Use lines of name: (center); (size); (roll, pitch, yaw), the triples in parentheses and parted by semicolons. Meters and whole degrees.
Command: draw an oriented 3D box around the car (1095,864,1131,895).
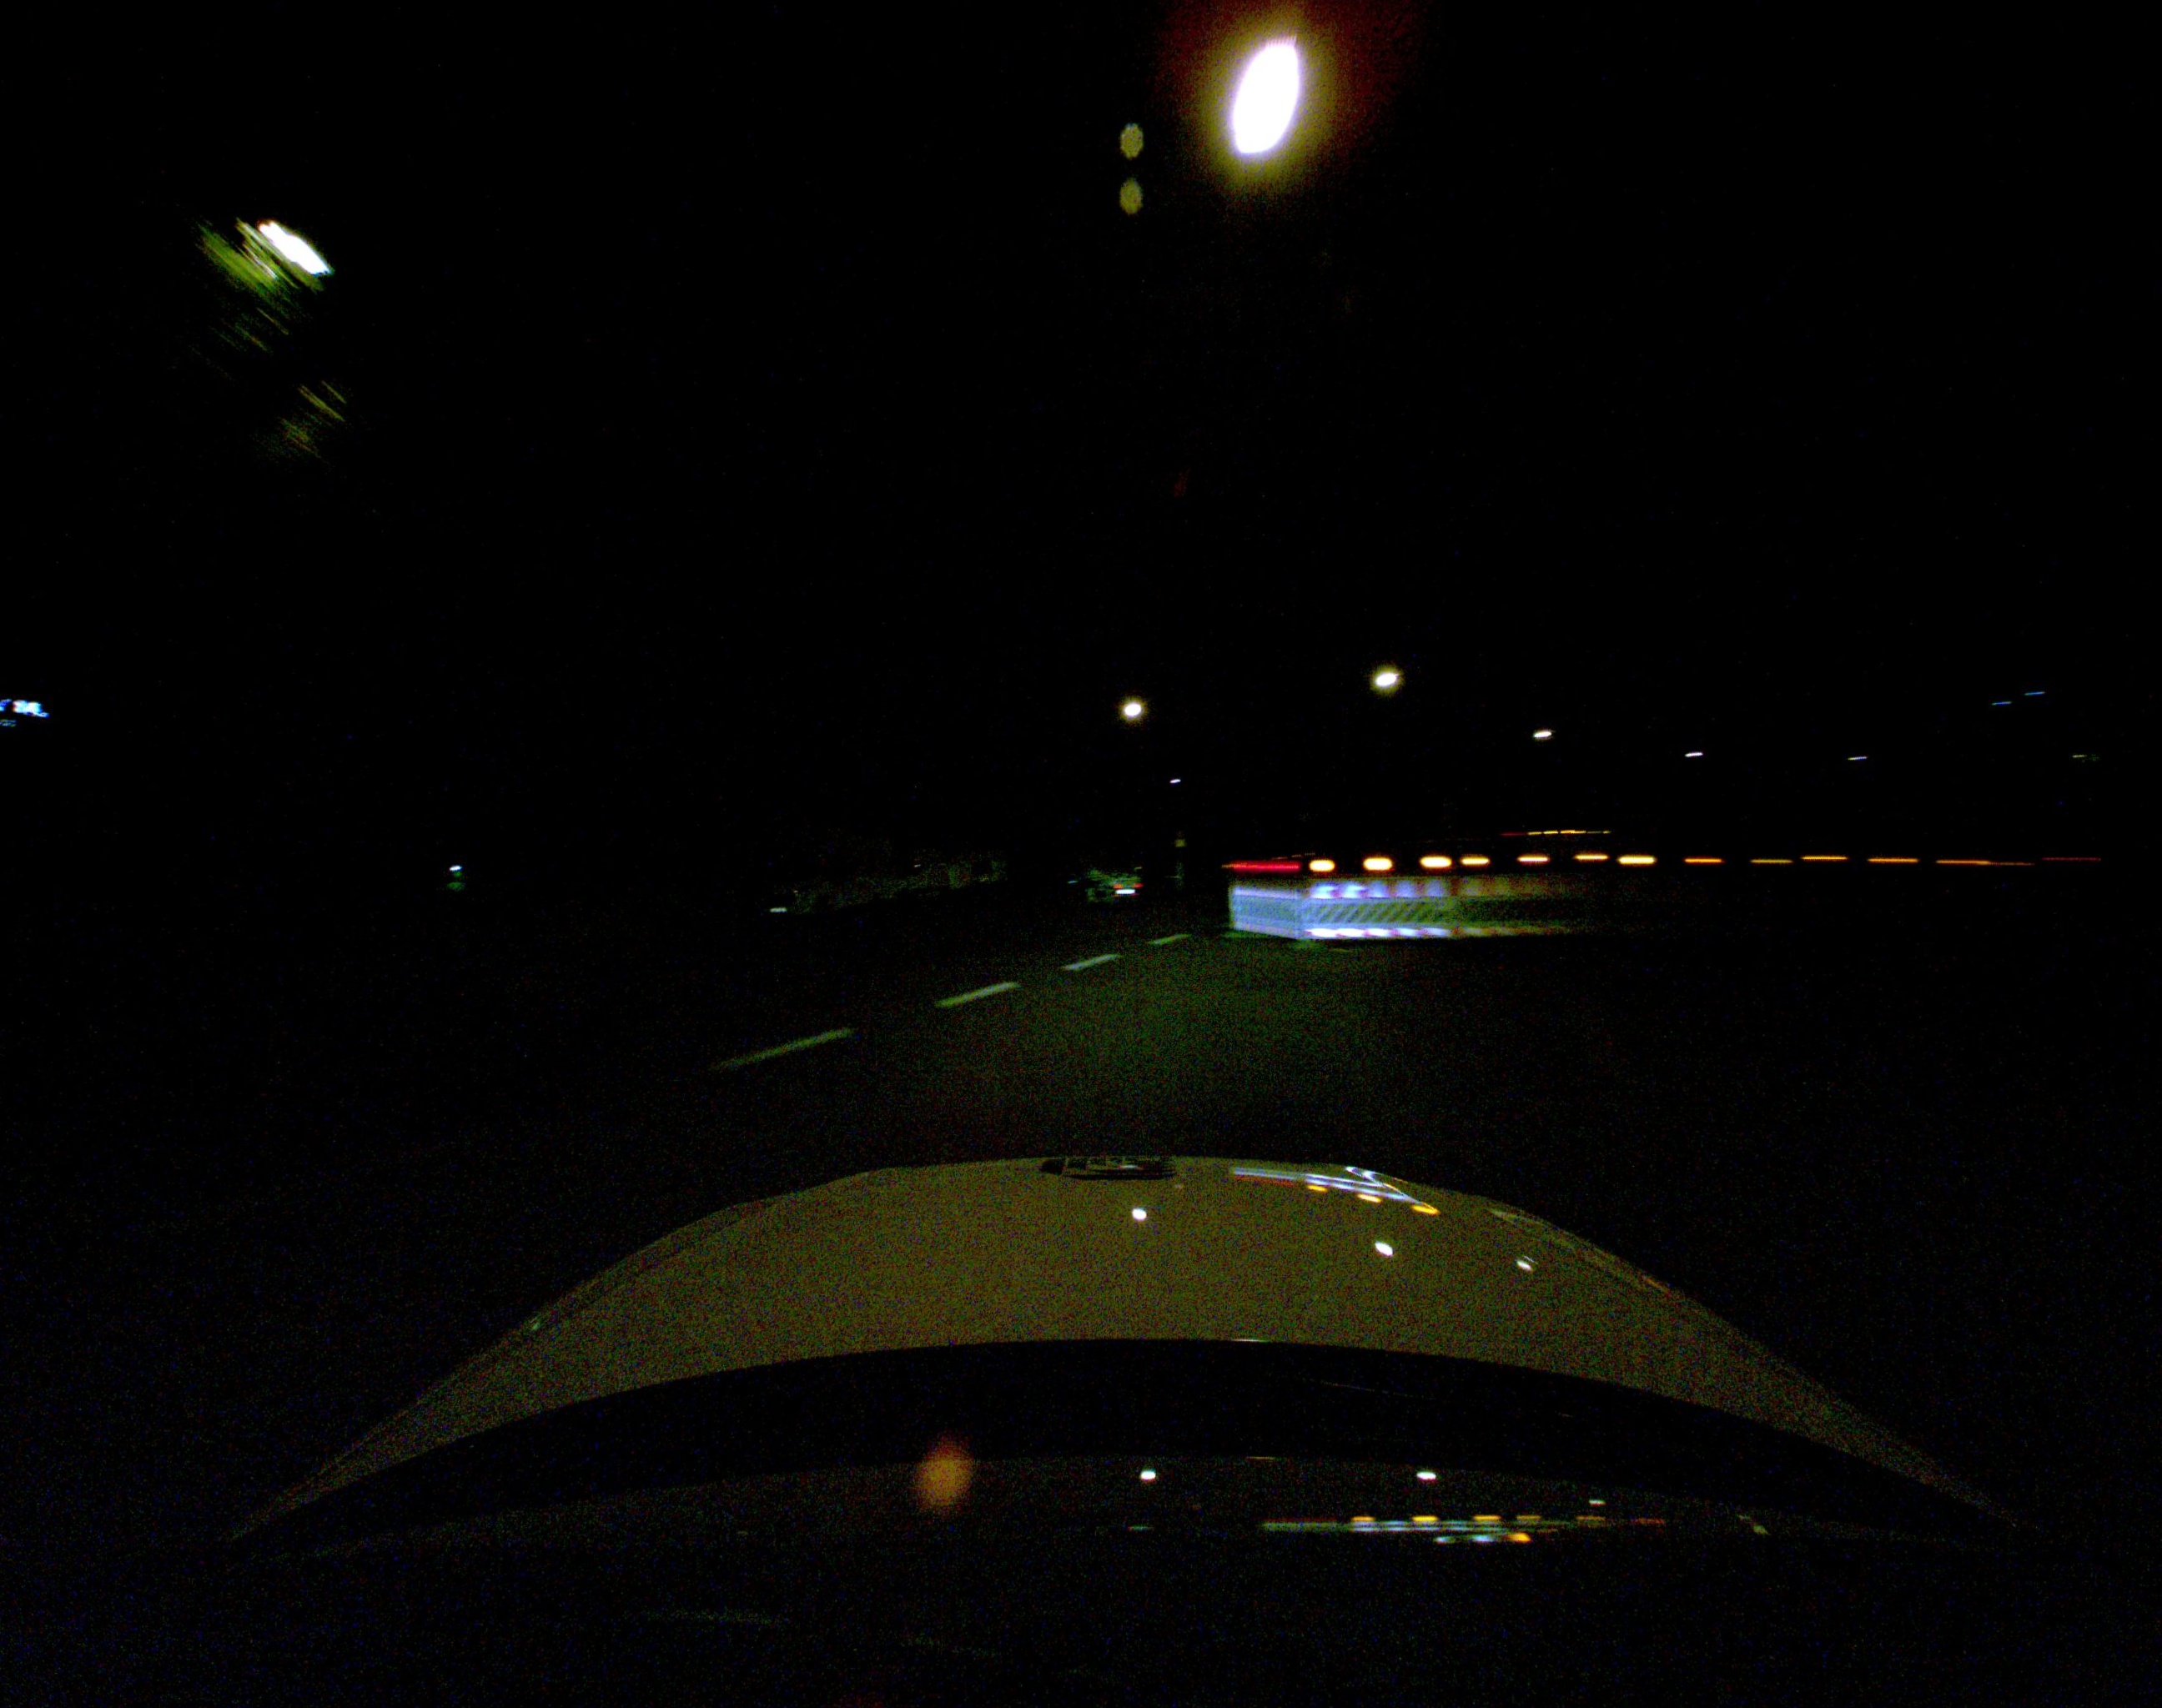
car: (1.859, 1.424, 45.850); (1.711, 1.661, 4.007); (0, -1, 7)

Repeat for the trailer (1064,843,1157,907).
trailer: (0.998, 0.812, 30.866); (1.565, 2.161, 5.184); (-2, -1, -21)

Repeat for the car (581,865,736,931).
car: (-20.487, 2.028, 39.946); (1.974, 2.842, 6.722); (0, 0, 31)

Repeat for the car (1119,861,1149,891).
car: (3.491, 1.421, 52.936); (1.711, 1.821, 4.007); (0, -1, 7)

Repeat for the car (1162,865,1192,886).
car: (8.708, 1.955, 73.533); (1.706, 1.821, 4.021); (0, -1, 22)

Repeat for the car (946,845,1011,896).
car: (-6.315, 1.011, 51.410); (2.507, 2.927, 7.210); (-2, -1, 5)

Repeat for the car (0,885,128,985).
car: (-30.298, 2.246, 21.819); (1.974, 2.554, 5.915); (0, 0, 31)

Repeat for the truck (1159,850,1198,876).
truck: (13.671, 1.160, 113.532); (1.974, 3.404, 9.035); (0, 0, 30)

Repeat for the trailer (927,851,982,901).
trailer: (-6.826, 1.161, 44.417); (1.983, 2.527, 3.574); (-3, -1, 6)

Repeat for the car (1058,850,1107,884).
car: (0.240, 1.282, 81.134); (2.498, 3.171, 7.173); (-3, -1, 20)

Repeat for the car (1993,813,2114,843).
car: (51.496, -1.358, 43.185); (3.972, 1.420, 2.001); (-2, 0, 1)

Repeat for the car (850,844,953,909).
car: (-8.007, 0.986, 37.336); (2.507, 2.606, 7.101); (-2, -1, 5)

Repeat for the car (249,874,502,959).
car: (-25.520, 2.130, 29.873); (1.974, 2.554, 6.722); (0, 0, 31)

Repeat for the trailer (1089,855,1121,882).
trailer: (2.598, 1.547, 87.192); (1.976, 2.813, 4.727); (-1, 0, 21)

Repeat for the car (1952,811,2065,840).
car: (51.815, -1.566, 45.539); (3.972, 1.420, 2.001); (-2, 0, 1)

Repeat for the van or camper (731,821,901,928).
van or camper: (-8.794, 0.661, 28.160); (2.505, 3.094, 7.460); (-2, -1, 8)
